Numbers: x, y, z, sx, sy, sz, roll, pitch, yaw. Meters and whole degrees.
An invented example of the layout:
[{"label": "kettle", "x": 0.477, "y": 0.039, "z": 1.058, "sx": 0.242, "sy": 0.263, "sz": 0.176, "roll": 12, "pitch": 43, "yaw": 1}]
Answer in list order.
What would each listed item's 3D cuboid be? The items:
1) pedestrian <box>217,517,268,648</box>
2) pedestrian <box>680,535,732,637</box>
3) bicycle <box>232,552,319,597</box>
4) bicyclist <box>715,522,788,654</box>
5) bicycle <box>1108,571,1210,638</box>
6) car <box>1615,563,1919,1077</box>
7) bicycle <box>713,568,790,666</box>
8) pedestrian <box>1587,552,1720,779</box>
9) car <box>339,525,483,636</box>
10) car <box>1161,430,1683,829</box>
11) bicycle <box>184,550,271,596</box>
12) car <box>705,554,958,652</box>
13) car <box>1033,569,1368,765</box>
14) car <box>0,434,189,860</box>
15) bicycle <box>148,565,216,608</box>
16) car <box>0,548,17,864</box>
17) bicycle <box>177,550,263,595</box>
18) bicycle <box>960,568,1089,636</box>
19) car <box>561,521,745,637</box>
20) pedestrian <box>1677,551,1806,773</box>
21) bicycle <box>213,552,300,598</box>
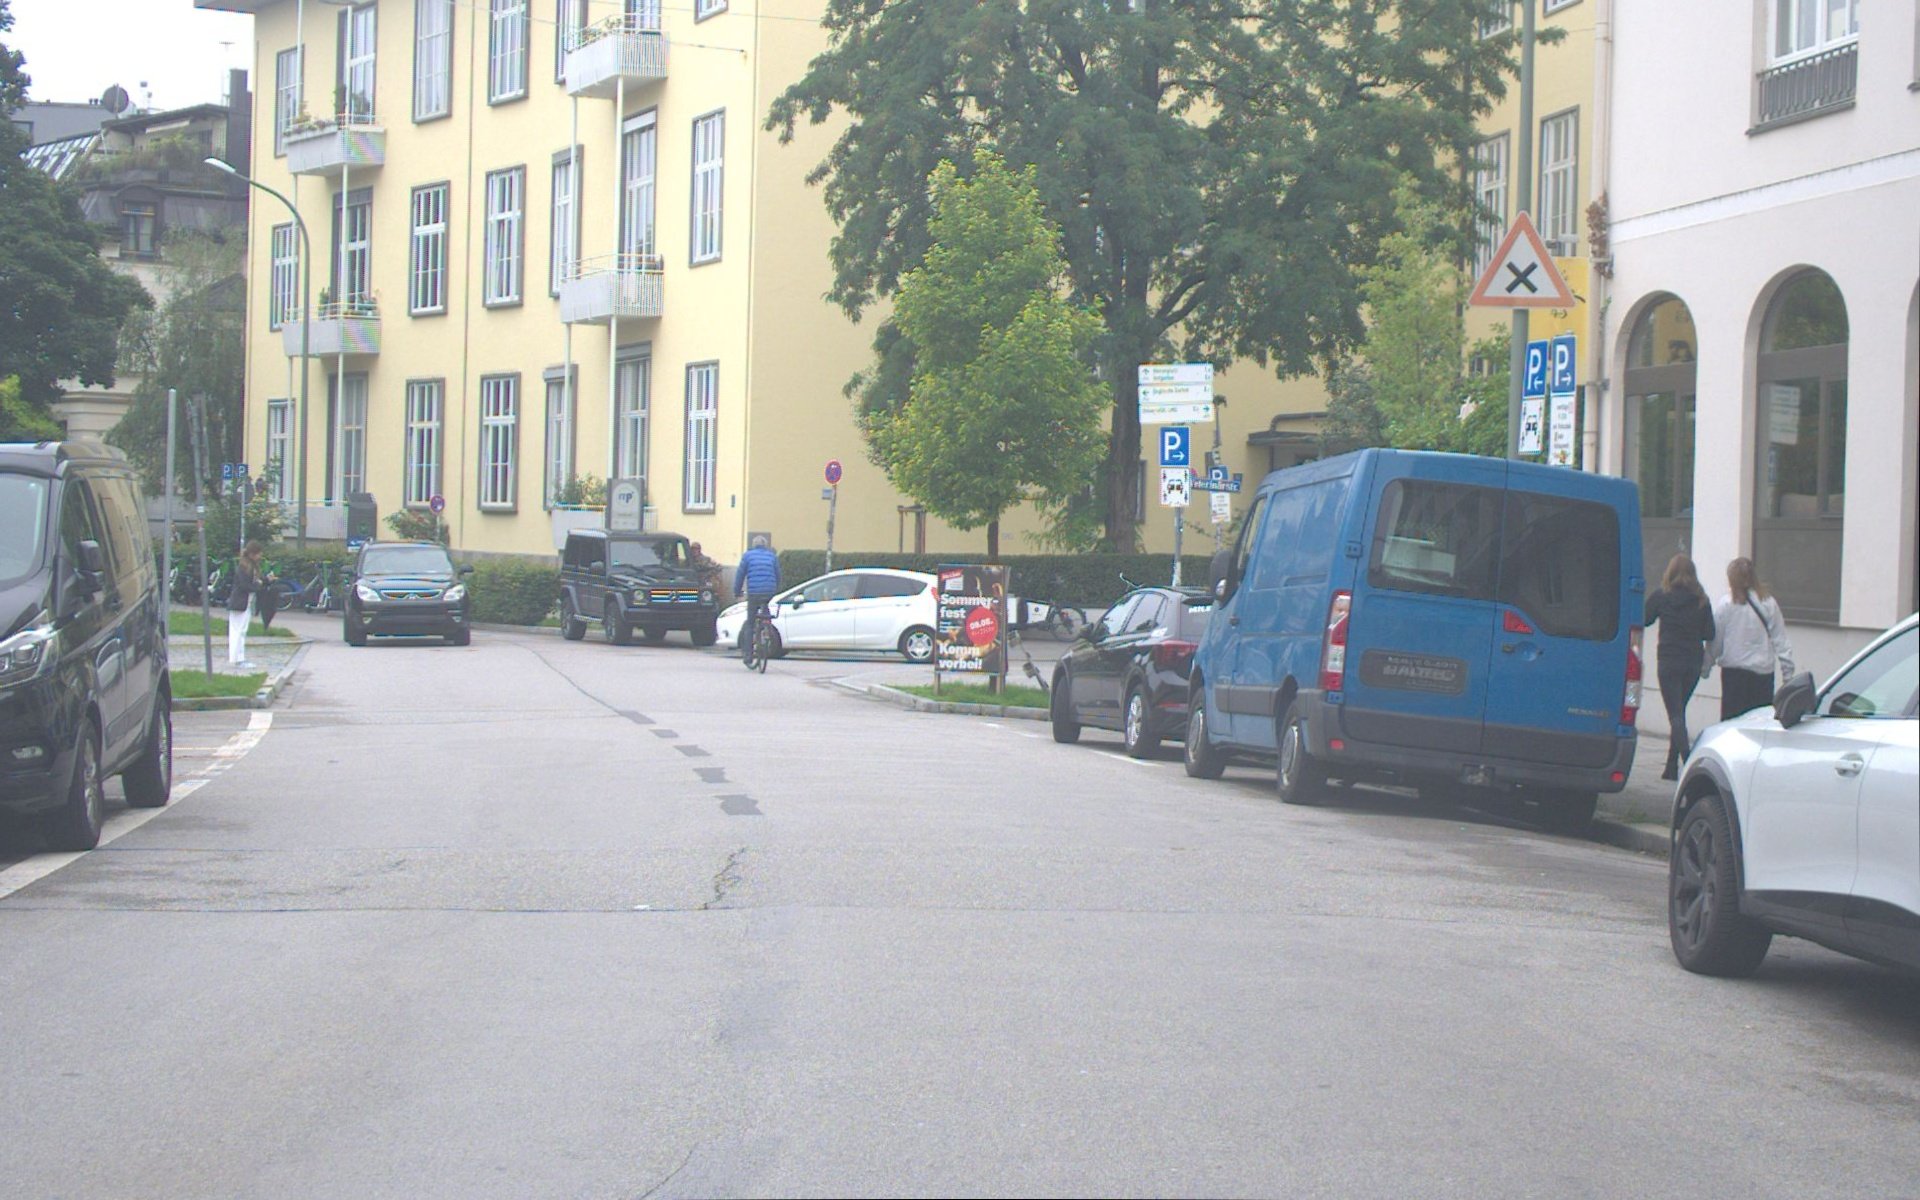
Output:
[{"label": "pedestrian", "x": -9.313, "y": -0.235, "z": 44.619, "sx": 0.542, "sy": 1.691, "sz": 0.667, "roll": -1, "pitch": 1, "yaw": -20}, {"label": "pedestrian", "x": -4.446, "y": -0.251, "z": 60.077, "sx": 0.848, "sy": 1.751, "sz": 0.954, "roll": 1, "pitch": 1, "yaw": -7}, {"label": "bicycle", "x": -15.897, "y": -0.588, "z": 79.893, "sx": 0.618, "sy": 1.025, "sz": 1.973, "roll": 2, "pitch": 1, "yaw": 44}, {"label": "bicyclist", "x": -2.839, "y": -0.176, "z": 46.894, "sx": 0.914, "sy": 1.758, "sz": 1.215, "roll": 1, "pitch": 1, "yaw": -1}, {"label": "bicycle", "x": 3.446, "y": 0.080, "z": 59.659, "sx": 1.681, "sy": 1.126, "sz": 0.460, "roll": 1, "pitch": 1, "yaw": -10}, {"label": "car", "x": 3.789, "y": 0.760, "z": 11.595, "sx": 1.775, "sy": 1.517, "sz": 4.305, "roll": 5, "pitch": 1, "yaw": -7}, {"label": "bicycle", "x": -2.830, "y": 0.216, "z": 46.913, "sx": 0.921, "sy": 1.248, "sz": 2.322, "roll": 1, "pitch": 1, "yaw": -1}, {"label": "pedestrian", "x": 5.042, "y": 0.464, "z": 25.032, "sx": 0.678, "sy": 1.623, "sz": 0.830, "roll": 0, "pitch": 0, "yaw": -11}, {"label": "car", "x": -9.176, "y": -0.356, "z": 57.145, "sx": 1.993, "sy": 1.713, "sz": 4.617, "roll": 1, "pitch": 1, "yaw": -13}, {"label": "car", "x": 2.950, "y": 0.212, "z": 23.277, "sx": 2.109, "sy": 2.206, "sz": 5.029, "roll": 6, "pitch": -1, "yaw": -7}, {"label": "bicycle", "x": -17.304, "y": -0.635, "z": 81.215, "sx": 0.618, "sy": 1.025, "sz": 1.973, "roll": 2, "pitch": 1, "yaw": 44}, {"label": "car", "x": -1.982, "y": 0.028, "z": 53.682, "sx": 3.716, "sy": 1.401, "sz": 1.753, "roll": 1, "pitch": 1, "yaw": 6}, {"label": "car", "x": 1.974, "y": 0.524, "z": 29.438, "sx": 1.714, "sy": 1.390, "sz": 4.001, "roll": 5, "pitch": 0, "yaw": -12}, {"label": "car", "x": -5.360, "y": 0.183, "z": 18.198, "sx": 1.925, "sy": 1.972, "sz": 4.624, "roll": -2, "pitch": 2, "yaw": -6}, {"label": "bicycle", "x": -18.941, "y": -0.322, "z": 83.739, "sx": 0.532, "sy": 1.025, "sz": 1.975, "roll": 2, "pitch": 1, "yaw": 23}, {"label": "car", "x": -4.948, "y": 0.549, "z": 13.101, "sx": 1.706, "sy": 1.361, "sz": 4.002, "roll": -3, "pitch": 2, "yaw": -3}, {"label": "bicycle", "x": -17.693, "y": -0.661, "z": 82.231, "sx": 0.618, "sy": 1.025, "sz": 1.973, "roll": 2, "pitch": 1, "yaw": 44}, {"label": "bicycle", "x": 1.130, "y": 0.036, "z": 59.801, "sx": 2.168, "sy": 1.112, "sz": 0.640, "roll": 1, "pitch": 1, "yaw": 8}, {"label": "car", "x": -5.410, "y": -0.396, "z": 60.030, "sx": 1.873, "sy": 1.881, "sz": 4.620, "roll": 1, "pitch": 1, "yaw": -22}, {"label": "pedestrian", "x": 5.726, "y": 0.440, "z": 25.211, "sx": 0.711, "sy": 1.599, "sz": 0.700, "roll": 0, "pitch": 1, "yaw": -8}, {"label": "bicycle", "x": -16.452, "y": -0.583, "z": 80.408, "sx": 0.618, "sy": 1.025, "sz": 1.973, "roll": 2, "pitch": 1, "yaw": 44}]
